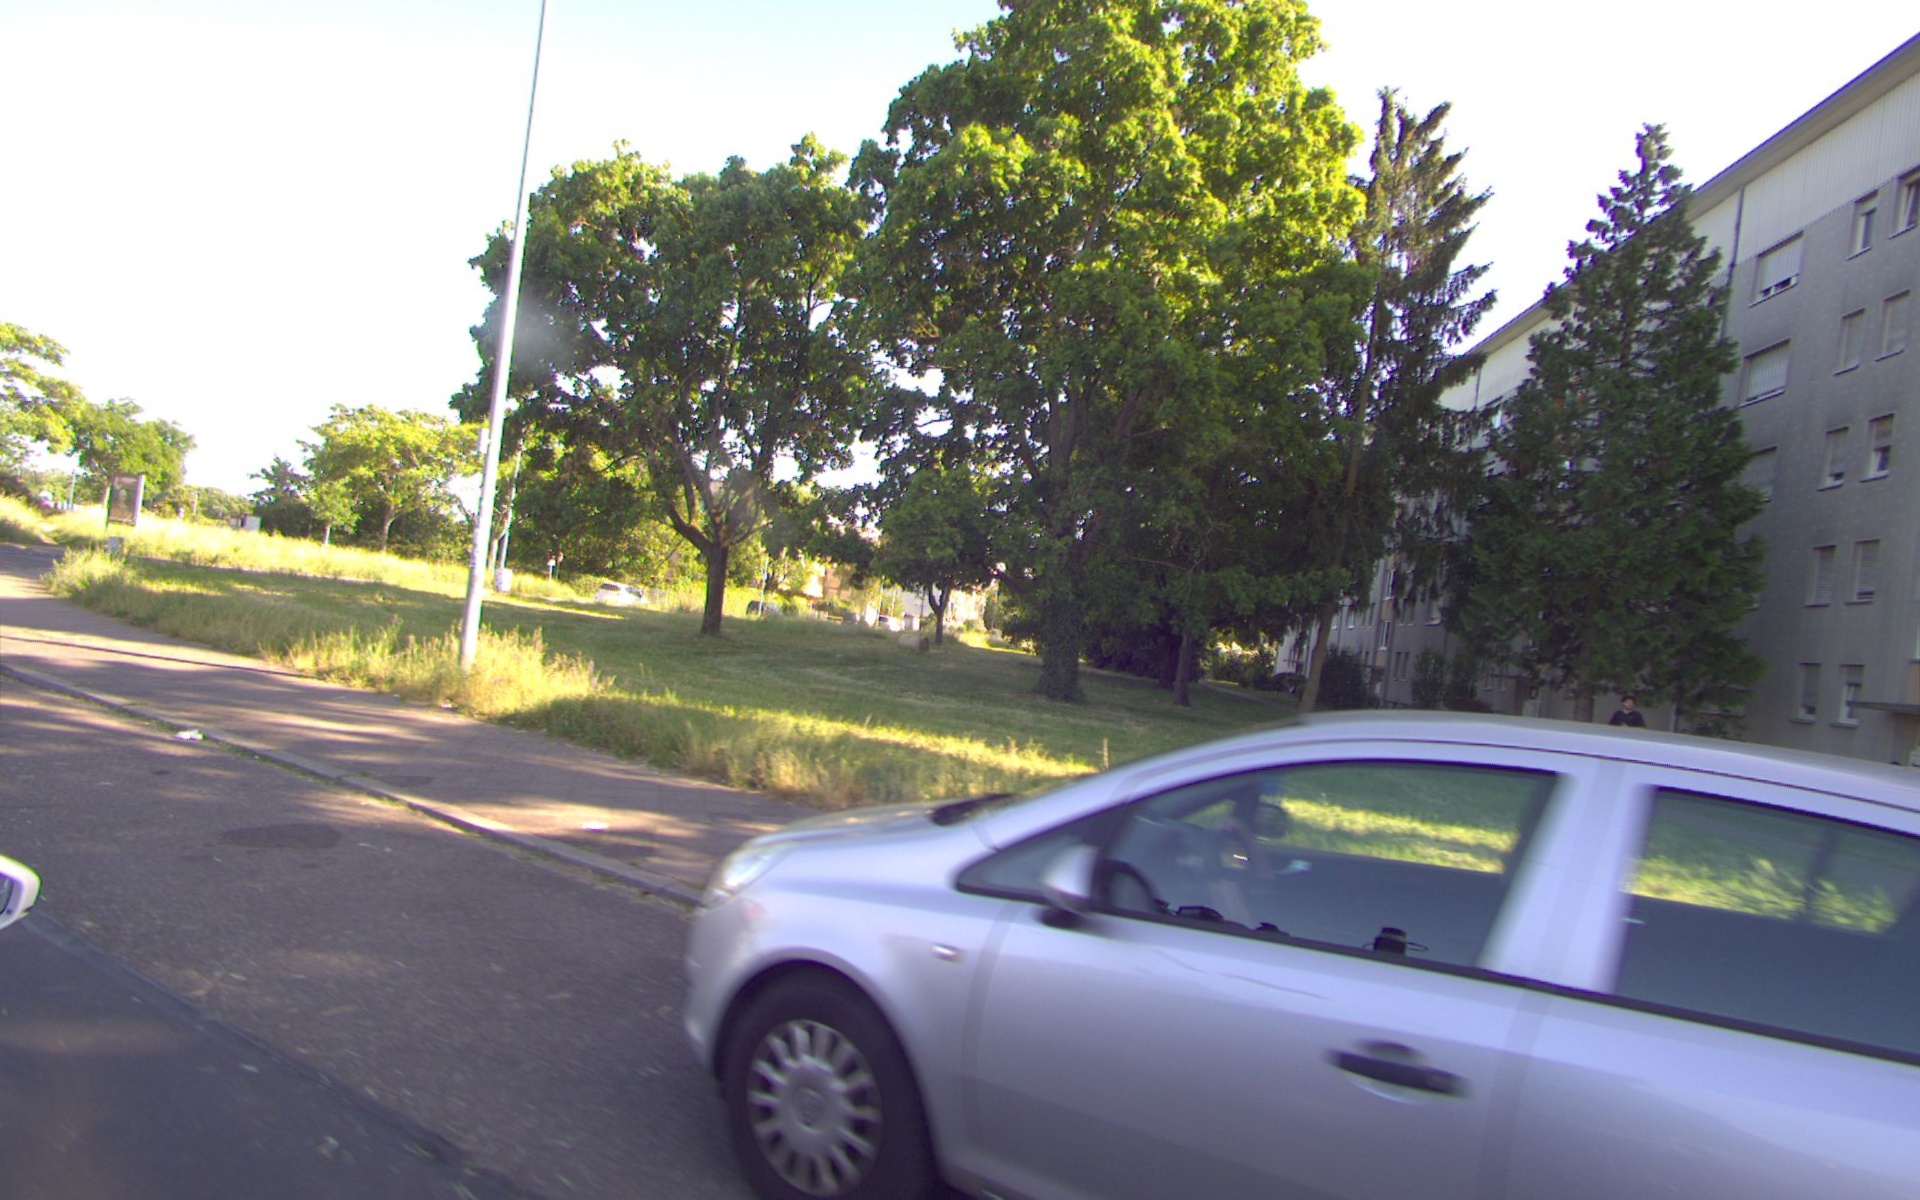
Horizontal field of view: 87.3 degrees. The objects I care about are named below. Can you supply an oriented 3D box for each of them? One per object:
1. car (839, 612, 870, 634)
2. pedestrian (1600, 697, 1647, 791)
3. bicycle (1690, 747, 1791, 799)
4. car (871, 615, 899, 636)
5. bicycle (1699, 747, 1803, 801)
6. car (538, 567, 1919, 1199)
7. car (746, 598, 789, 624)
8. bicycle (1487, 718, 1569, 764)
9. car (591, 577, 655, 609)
[{"bbox_3d":[-10.267,2.279,98.056,1.672,1.780,3.855,9,-1,12],"label":"car"},{"bbox_3d":[12.558,2.719,19.030,0.529,1.680,0.489,6,-3,42],"label":"pedestrian"},{"bbox_3d":[17.270,3.815,22.311,1.653,0.856,0.512,6,-3,32],"label":"bicycle"},{"bbox_3d":[-8.014,2.731,107.911,1.672,1.873,3.855,9,-1,12],"label":"car"},{"bbox_3d":[16.990,3.728,21.648,1.653,0.856,0.512,6,-3,32],"label":"bicycle"},{"bbox_3d":[0.915,0.947,2.692,3.725,1.560,1.736,6,-3,30],"label":"car"},{"bbox_3d":[-14.567,0.843,76.192,1.671,1.629,4.004,7,-1,11],"label":"car"},{"bbox_3d":[13.783,3.419,24.422,1.653,0.856,0.512,6,-3,32],"label":"bicycle"},{"bbox_3d":[-18.920,-0.403,56.586,1.695,1.498,3.739,9,2,9],"label":"car"}]
